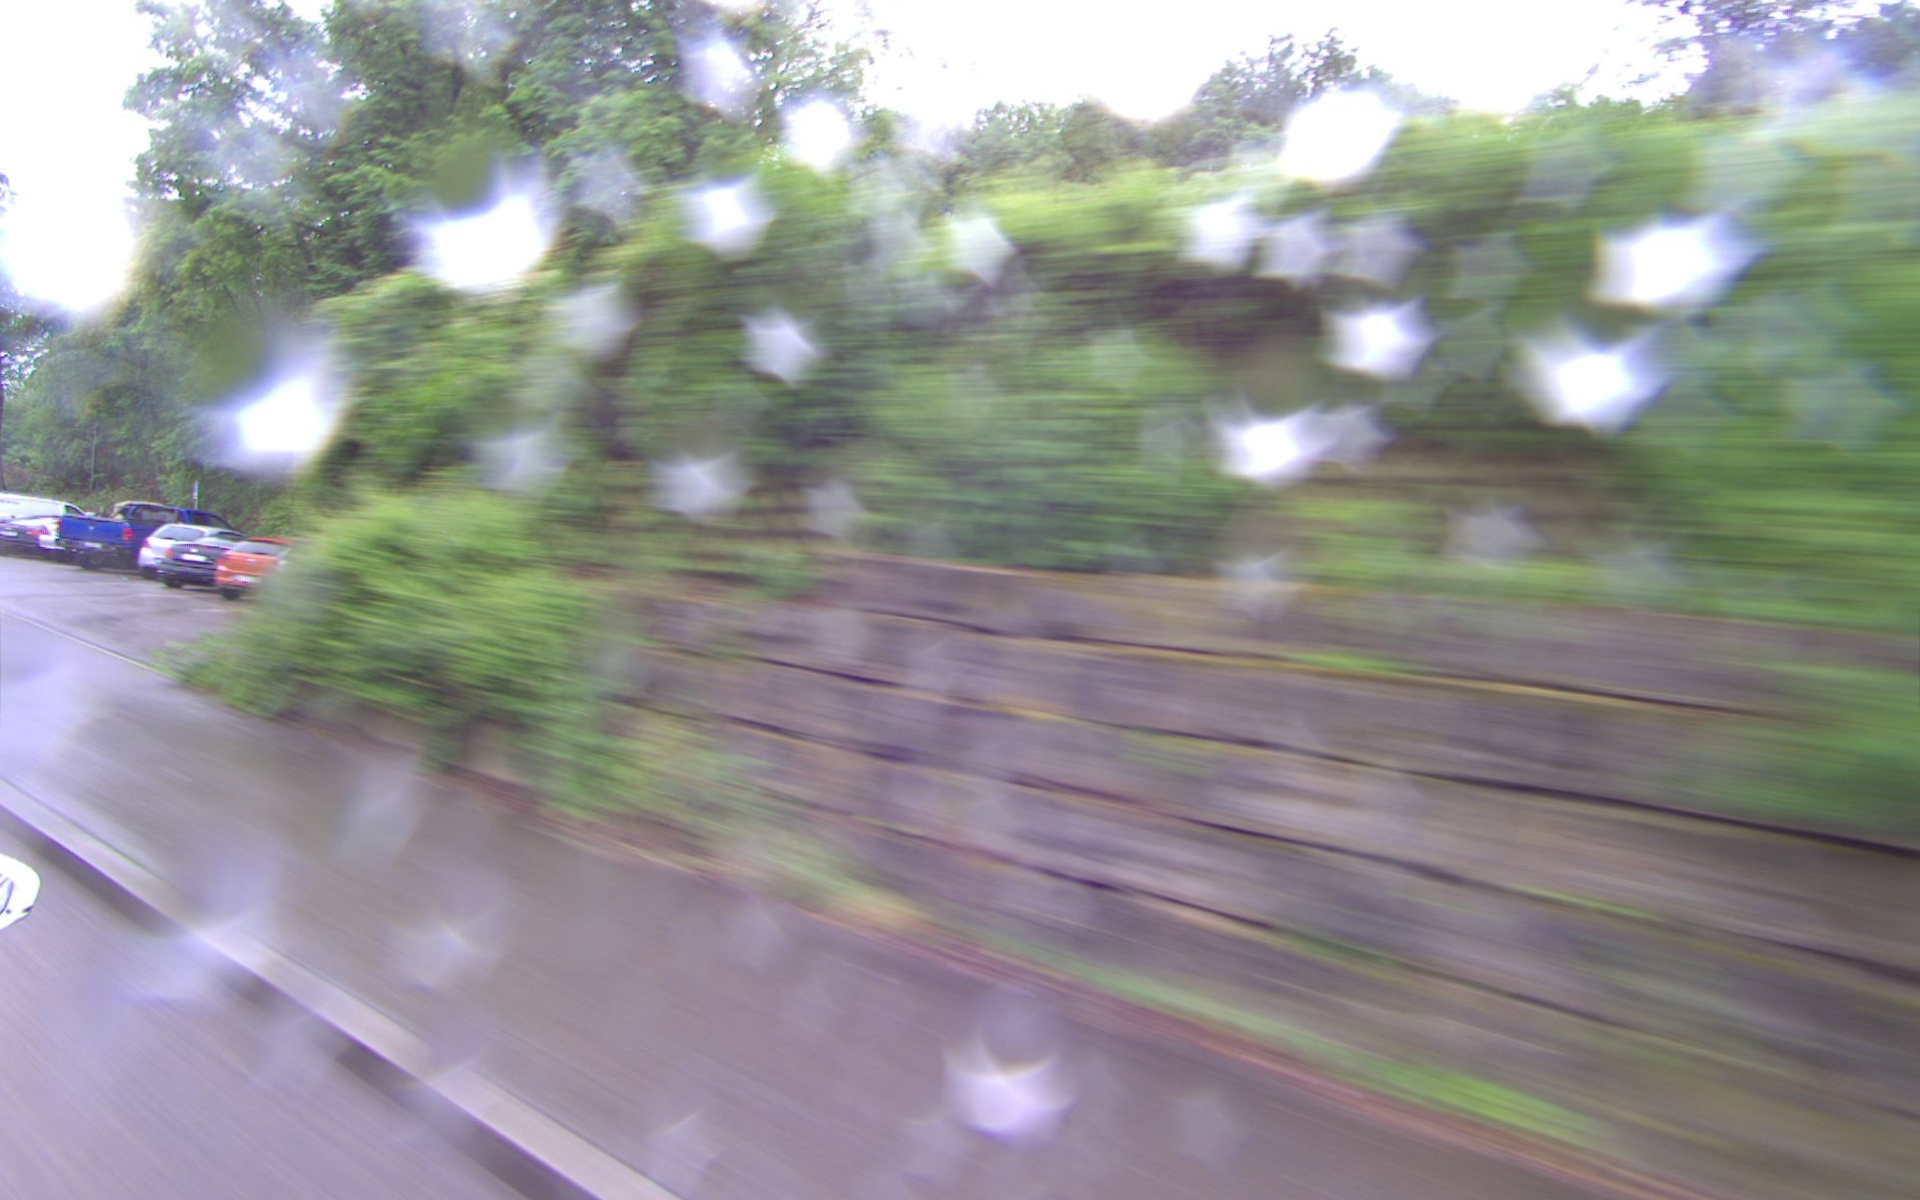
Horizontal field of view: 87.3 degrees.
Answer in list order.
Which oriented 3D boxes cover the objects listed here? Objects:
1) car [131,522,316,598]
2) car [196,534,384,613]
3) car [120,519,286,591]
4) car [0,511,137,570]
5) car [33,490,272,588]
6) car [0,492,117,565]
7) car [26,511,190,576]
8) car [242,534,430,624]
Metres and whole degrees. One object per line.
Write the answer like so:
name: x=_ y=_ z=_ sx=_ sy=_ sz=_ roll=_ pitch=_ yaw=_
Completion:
car: x=-17.962 y=-0.904 z=24.767 sx=1.686 sy=1.418 sz=3.843 roll=7 pitch=-1 yaw=-2
car: x=-15.226 y=-0.544 z=23.132 sx=1.686 sy=1.418 sz=3.796 roll=7 pitch=-1 yaw=-1
car: x=-20.412 y=-1.151 z=27.341 sx=1.590 sy=1.504 sz=3.912 roll=7 pitch=-1 yaw=-4
car: x=-27.768 y=-1.822 z=30.959 sx=1.730 sy=1.364 sz=3.796 roll=7 pitch=-2 yaw=-2
car: x=-22.778 y=-1.612 z=28.795 sx=2.288 sy=1.991 sz=5.484 roll=7 pitch=-2 yaw=-1
car: x=-30.524 y=-2.392 z=32.680 sx=2.117 sy=1.963 sz=4.843 roll=7 pitch=-2 yaw=-2
car: x=-25.521 y=-1.639 z=30.326 sx=1.597 sy=1.429 sz=3.994 roll=7 pitch=-2 yaw=-4
car: x=-12.880 y=-0.390 z=21.052 sx=1.721 sy=1.498 sz=3.792 roll=7 pitch=-1 yaw=-6
